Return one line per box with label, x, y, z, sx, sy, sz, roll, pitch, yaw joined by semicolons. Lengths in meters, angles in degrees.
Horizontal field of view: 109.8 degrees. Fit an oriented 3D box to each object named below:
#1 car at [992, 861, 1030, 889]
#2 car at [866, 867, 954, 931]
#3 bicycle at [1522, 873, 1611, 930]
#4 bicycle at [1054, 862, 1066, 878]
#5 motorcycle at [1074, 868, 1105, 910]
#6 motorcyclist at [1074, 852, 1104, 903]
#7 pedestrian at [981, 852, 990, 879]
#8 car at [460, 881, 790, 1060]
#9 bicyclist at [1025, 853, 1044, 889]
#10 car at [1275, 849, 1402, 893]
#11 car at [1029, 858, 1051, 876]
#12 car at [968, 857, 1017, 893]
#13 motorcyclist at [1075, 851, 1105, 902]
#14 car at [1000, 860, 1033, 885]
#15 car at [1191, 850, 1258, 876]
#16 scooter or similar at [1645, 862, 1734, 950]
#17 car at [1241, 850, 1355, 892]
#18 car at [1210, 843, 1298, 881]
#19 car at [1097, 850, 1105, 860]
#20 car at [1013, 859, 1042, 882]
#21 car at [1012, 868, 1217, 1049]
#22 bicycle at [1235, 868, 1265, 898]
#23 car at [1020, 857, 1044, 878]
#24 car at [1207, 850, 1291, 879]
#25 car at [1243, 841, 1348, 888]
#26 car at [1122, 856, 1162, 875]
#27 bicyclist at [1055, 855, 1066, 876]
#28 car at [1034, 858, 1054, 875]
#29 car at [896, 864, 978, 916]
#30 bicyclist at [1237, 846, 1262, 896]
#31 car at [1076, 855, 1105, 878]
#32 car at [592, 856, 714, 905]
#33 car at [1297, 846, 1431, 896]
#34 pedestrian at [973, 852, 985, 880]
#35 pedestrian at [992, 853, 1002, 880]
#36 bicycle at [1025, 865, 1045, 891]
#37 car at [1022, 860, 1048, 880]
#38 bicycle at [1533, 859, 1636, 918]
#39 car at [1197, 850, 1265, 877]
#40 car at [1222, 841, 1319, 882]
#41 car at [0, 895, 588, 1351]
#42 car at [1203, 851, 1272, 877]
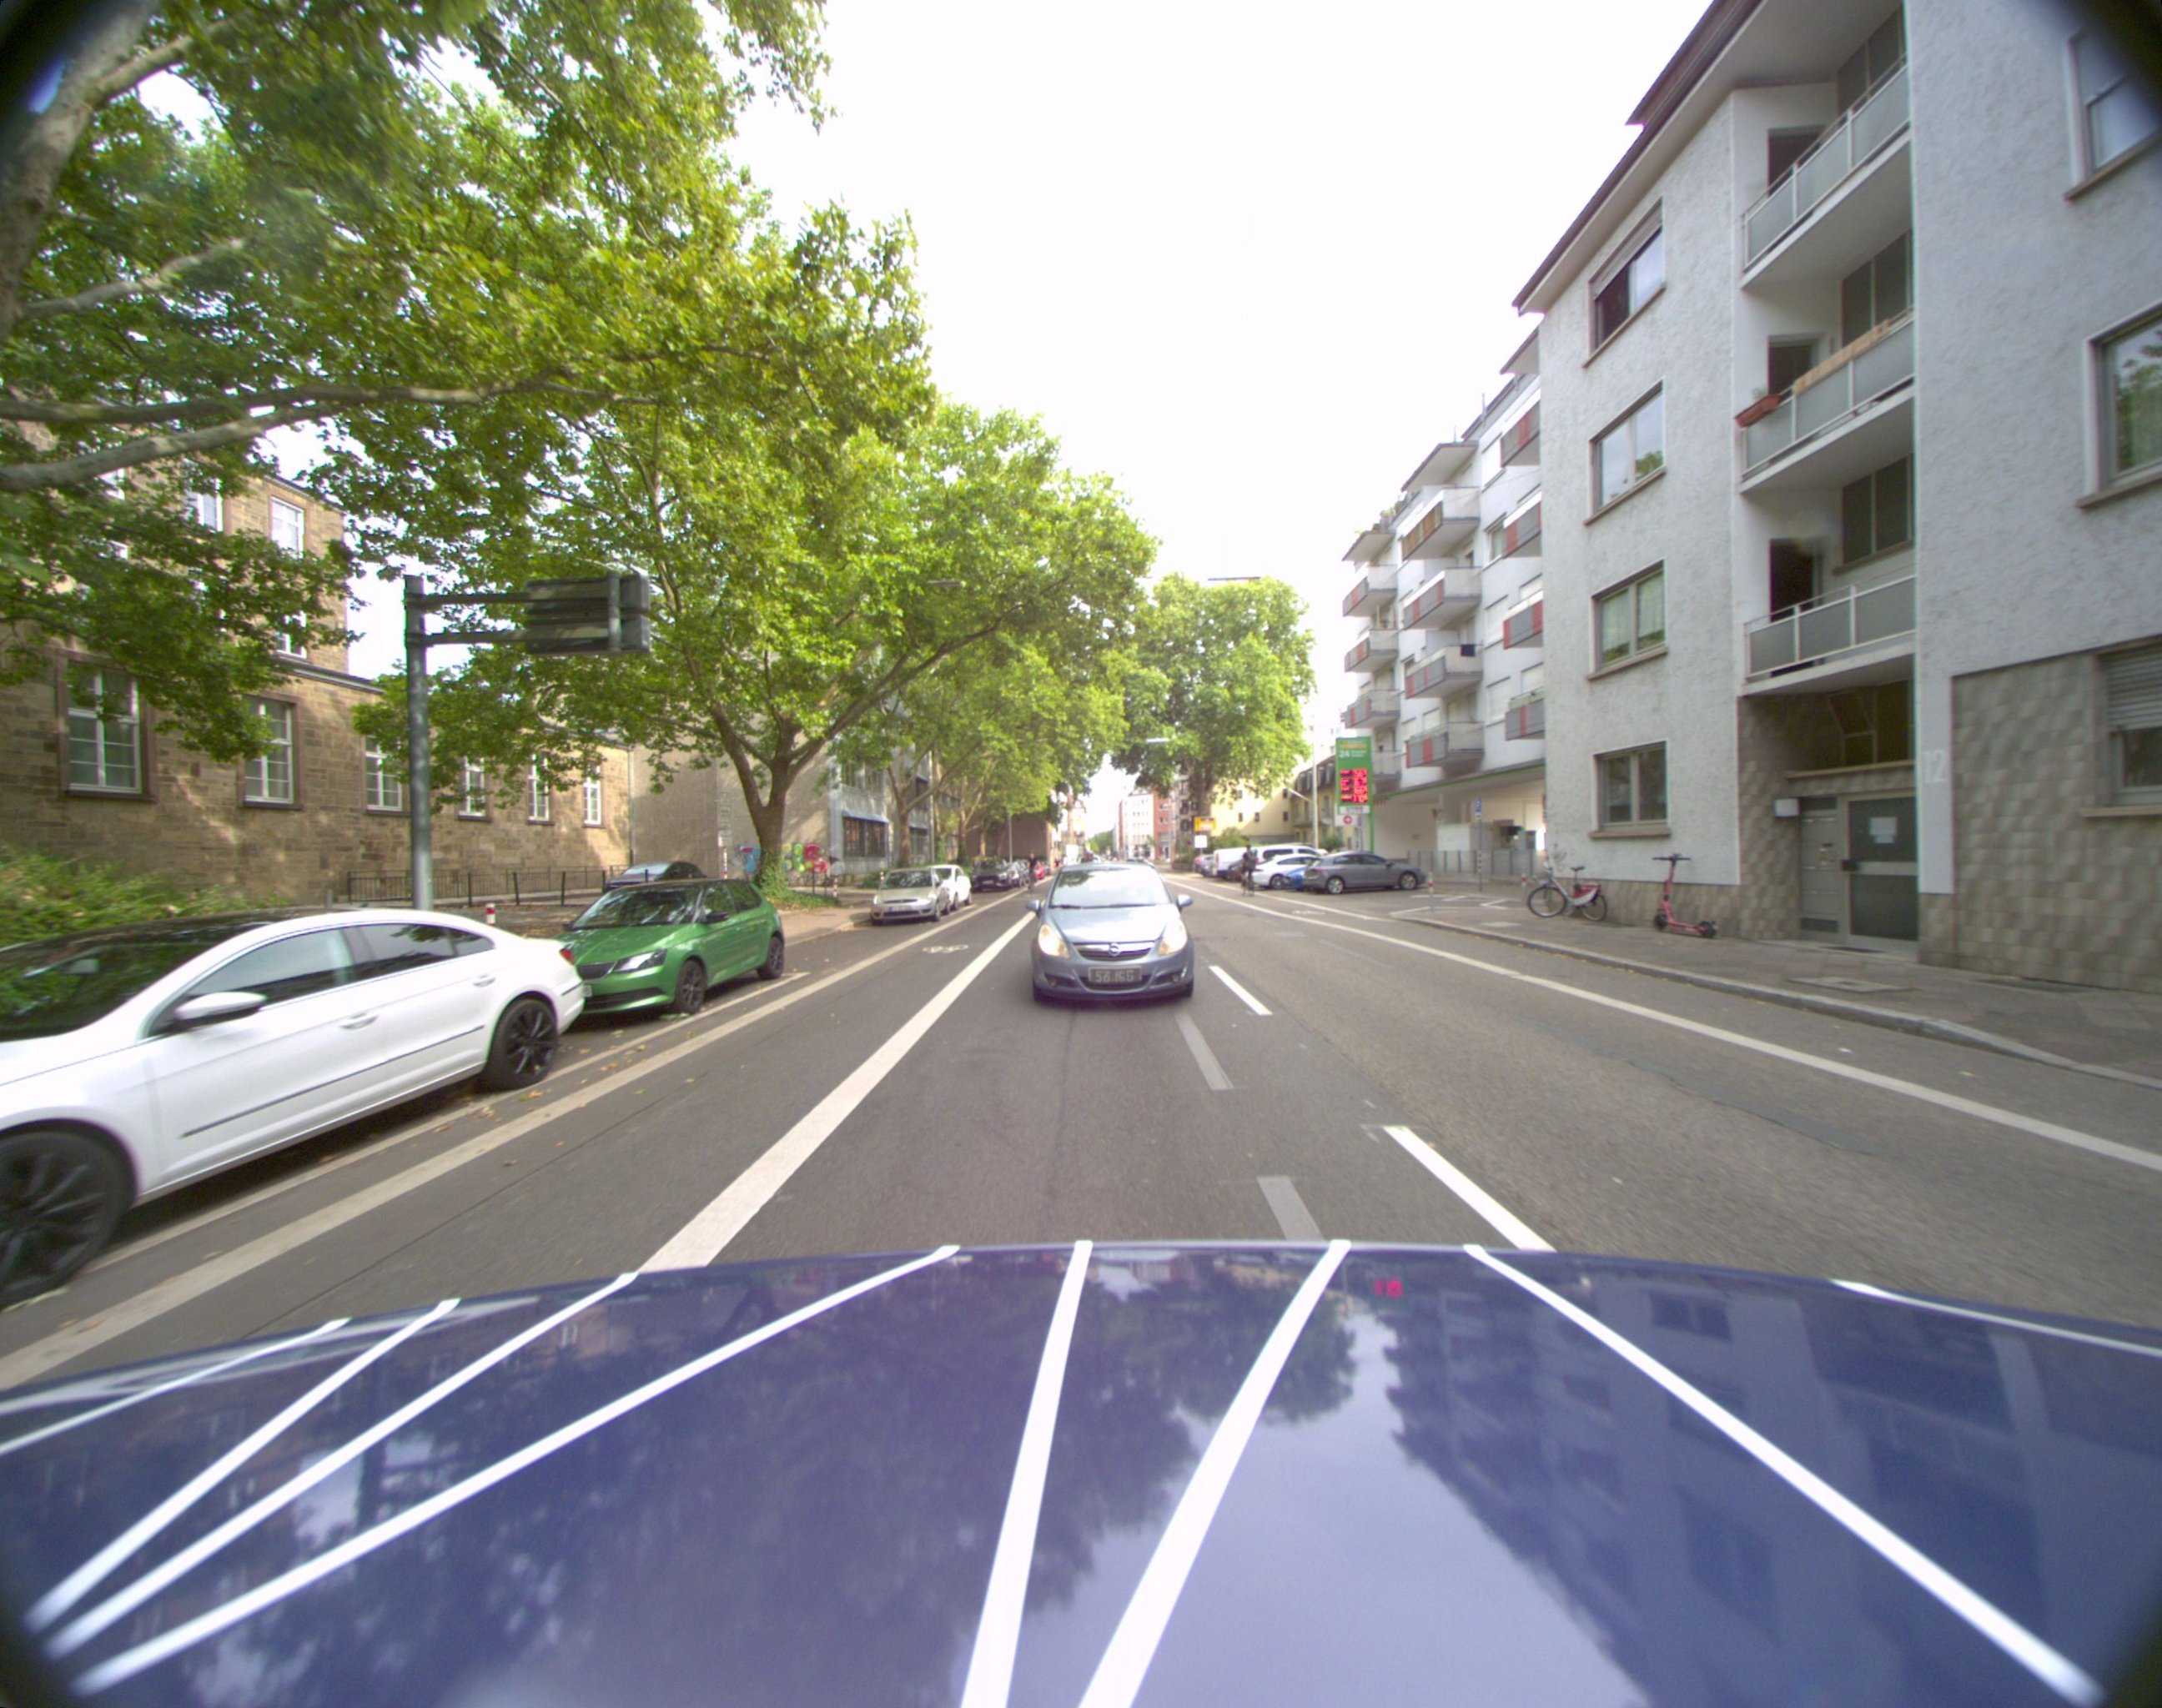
car;-4.042;1.163;44.396;1.643;1.424;4.573;-3;0;1
car;-4.562;1.138;20.785;1.647;1.438;3.881;-3;0;-4
bicycle;8.966;0.852;14.110;0.598;0.945;1.663;-2;0;1
bicycle;-1.622;1.220;59.326;0.763;1.162;1.950;-2;0;2
motorcycle;0.266;1.066;24.176;0.904;1.190;2.630;-1;0;1
motorcyclist;0.264;0.738;24.176;0.904;1.608;0.691;-1;1;1
pedestrian;-6.383;0.775;50.709;0.502;1.775;0.527;2;1;0
car;-5.004;1.160;9.028;1.591;1.441;3.805;-4;0;-1
bicyclist;-2.231;0.792;36.656;0.764;1.698;0.917;-2;0;1
car;10.077;0.653;30.021;4.311;1.442;1.910;-4;0;1
car;-3.757;1.160;69.776;1.602;1.516;3.956;-3;0;1
car;-4.451;1.006;38.837;1.926;1.612;4.480;-3;0;-1
motorcyclist;0.299;0.731;24.885;0.904;1.608;0.691;-1;1;1
car;-4.119;1.138;48.825;1.602;1.414;3.956;-3;0;1
car;10.460;0.642;55.659;4.529;1.596;1.754;-4;0;2
scooter or similar;9.102;0.746;11.401;0.350;1.214;1.202;-2;0;1
car;9.168;0.705;32.414;4.281;1.442;1.874;-4;0;1
car;10.014;0.475;44.289;4.627;1.848;1.950;-4;0;2
car;5.408;0.234;203.521;1.998;2.546;4.799;-2;0;2
car;-3.779;1.152;54.185;1.602;1.496;4.440;-3;0;1
car;0.323;0.939;8.634;1.716;1.412;4.253;-2;0;1
bicycle;6.231;1.044;28.120;0.647;1.008;2.077;-2;1;1
car;-4.146;1.130;65.235;1.651;1.655;3.797;-3;0;1
car;10.271;0.637;46.724;4.716;1.461;1.874;-4;0;2
car;9.845;0.462;35.051;4.221;1.837;1.924;-4;0;1
car;5.741;1.081;71.872;1.939;1.637;3.991;-1;0;-26
bicyclist;-1.624;0.886;59.330;0.748;1.590;0.819;-2;0;1
car;-3.621;1.181;74.487;1.602;1.516;3.956;-3;0;1
car;-4.732;1.129;25.511;1.758;1.438;4.218;-3;0;2
bicyclist;6.218;0.607;28.130;0.653;1.800;1.045;-2;1;1
car;0.703;0.860;56.192;2.000;1.556;4.551;-2;0;1
car;-14.212;0.880;25.530;1.673;1.441;4.299;-2;-2;-1
car;10.278;0.615;27.799;4.161;1.504;1.837;-4;0;1
pedestrian;-6.860;0.797;50.961;0.643;1.823;0.645;2;1;0
pedestrian;-5.583;0.816;50.557;0.592;1.775;0.476;2;1;0
bicycle;-2.217;1.124;36.720;0.763;1.162;1.950;-2;0;2
car;-3.592;1.233;59.503;1.602;1.438;4.105;-3;0;1
bicycle;10.344;0.704;15.624;1.776;1.111;0.453;-2;1;1
car;10.500;0.654;53.343;4.372;1.540;1.733;-4;0;2
car;10.362;0.412;41.815;4.778;1.923;1.994;-4;0;2
car;-4.925;1.146;3.988;1.685;1.507;4.543;-4;0;-1
car;10.499;0.666;51.214;4.275;1.502;1.719;-4;0;2
